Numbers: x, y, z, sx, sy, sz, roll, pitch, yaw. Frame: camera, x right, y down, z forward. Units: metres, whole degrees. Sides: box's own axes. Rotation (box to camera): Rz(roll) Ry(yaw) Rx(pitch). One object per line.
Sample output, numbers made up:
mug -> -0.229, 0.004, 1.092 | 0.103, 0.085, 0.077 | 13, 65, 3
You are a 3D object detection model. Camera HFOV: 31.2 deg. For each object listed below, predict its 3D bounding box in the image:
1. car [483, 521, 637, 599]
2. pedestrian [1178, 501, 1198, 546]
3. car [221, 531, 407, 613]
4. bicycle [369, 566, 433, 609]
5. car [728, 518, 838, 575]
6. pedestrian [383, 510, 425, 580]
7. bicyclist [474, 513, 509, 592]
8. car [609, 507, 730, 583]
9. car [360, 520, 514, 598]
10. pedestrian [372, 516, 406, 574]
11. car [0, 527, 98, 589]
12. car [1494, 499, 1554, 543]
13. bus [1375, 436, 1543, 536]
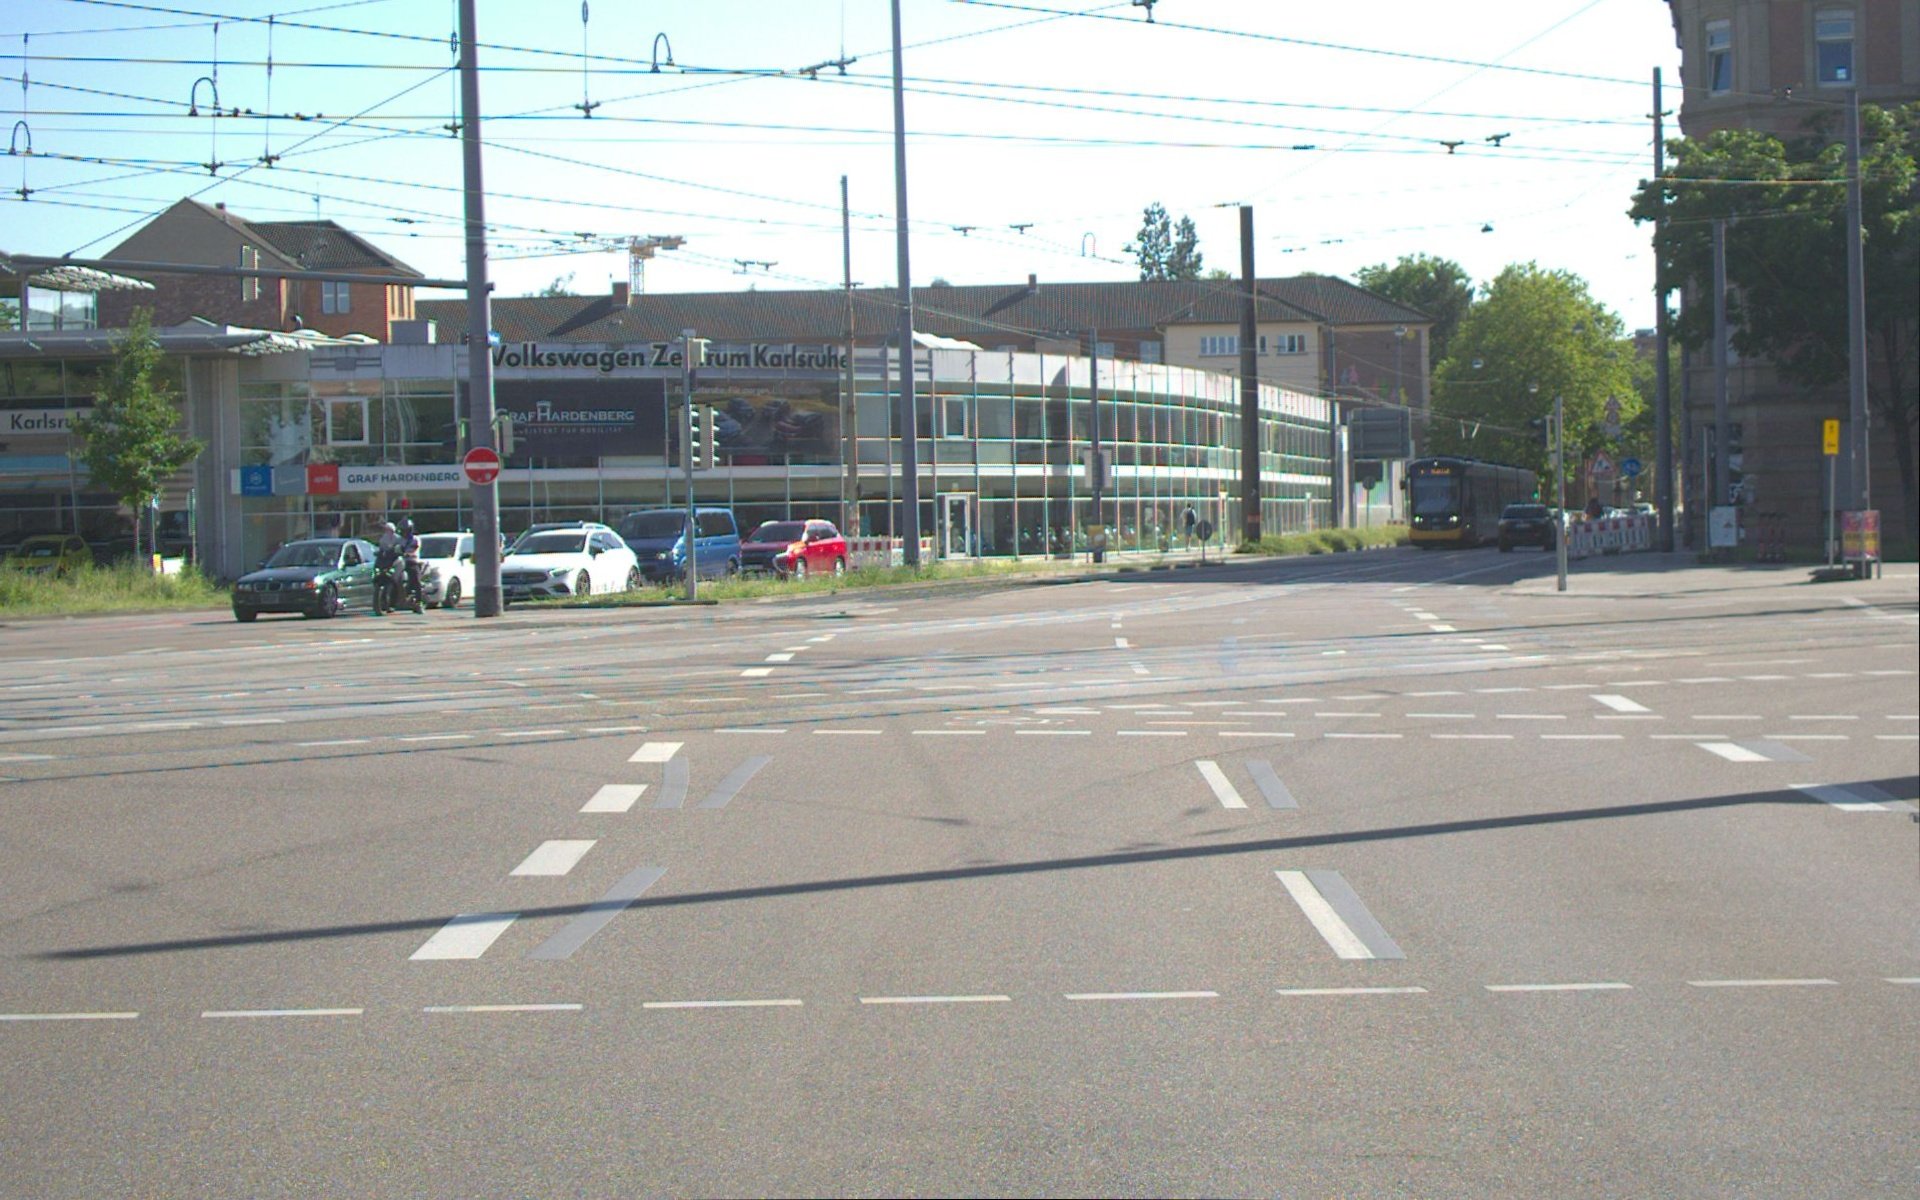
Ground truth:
car -> -7.525, -0.771, 64.944 | 1.627, 1.377, 3.735 | -1, 1, 14
pedestrian -> 8.599, -2.871, 129.599 | 0.543, 1.683, 0.629 | -1, 1, 20
car -> -11.392, -0.517, 60.874 | 1.705, 1.349, 3.698 | -1, 1, 17
bicycle -> -9.791, -0.228, 60.246 | 0.423, 0.715, 1.633 | -1, 1, 17
car -> -4.403, -1.348, 86.084 | 1.627, 1.359, 3.683 | -1, 1, 16
pedestrian -> -9.761, -0.967, 60.401 | 0.423, 1.200, 0.749 | -1, 1, 17
bicyclist -> -10.264, -1.044, 75.342 | 0.569, 1.708, 0.648 | -1, 1, 10
car -> -6.651, -1.276, 78.956 | 1.627, 1.686, 3.683 | -1, 1, 14
car -> -10.124, -0.817, 66.825 | 1.627, 1.419, 3.683 | -1, 1, 14
pedestrian -> -11.943, -1.154, 71.910 | 0.423, 1.200, 0.680 | -1, 1, 18
car -> -26.540, -1.239, 99.872 | 1.966, 1.700, 4.084 | -1, 1, -1
car -> 19.995, -2.802, 121.810 | 1.700, 1.497, 4.262 | -1, 1, 14
bus -> 20.698, -4.515, 140.765 | 3.839, 3.595, 24.849 | 1, 1, 15
